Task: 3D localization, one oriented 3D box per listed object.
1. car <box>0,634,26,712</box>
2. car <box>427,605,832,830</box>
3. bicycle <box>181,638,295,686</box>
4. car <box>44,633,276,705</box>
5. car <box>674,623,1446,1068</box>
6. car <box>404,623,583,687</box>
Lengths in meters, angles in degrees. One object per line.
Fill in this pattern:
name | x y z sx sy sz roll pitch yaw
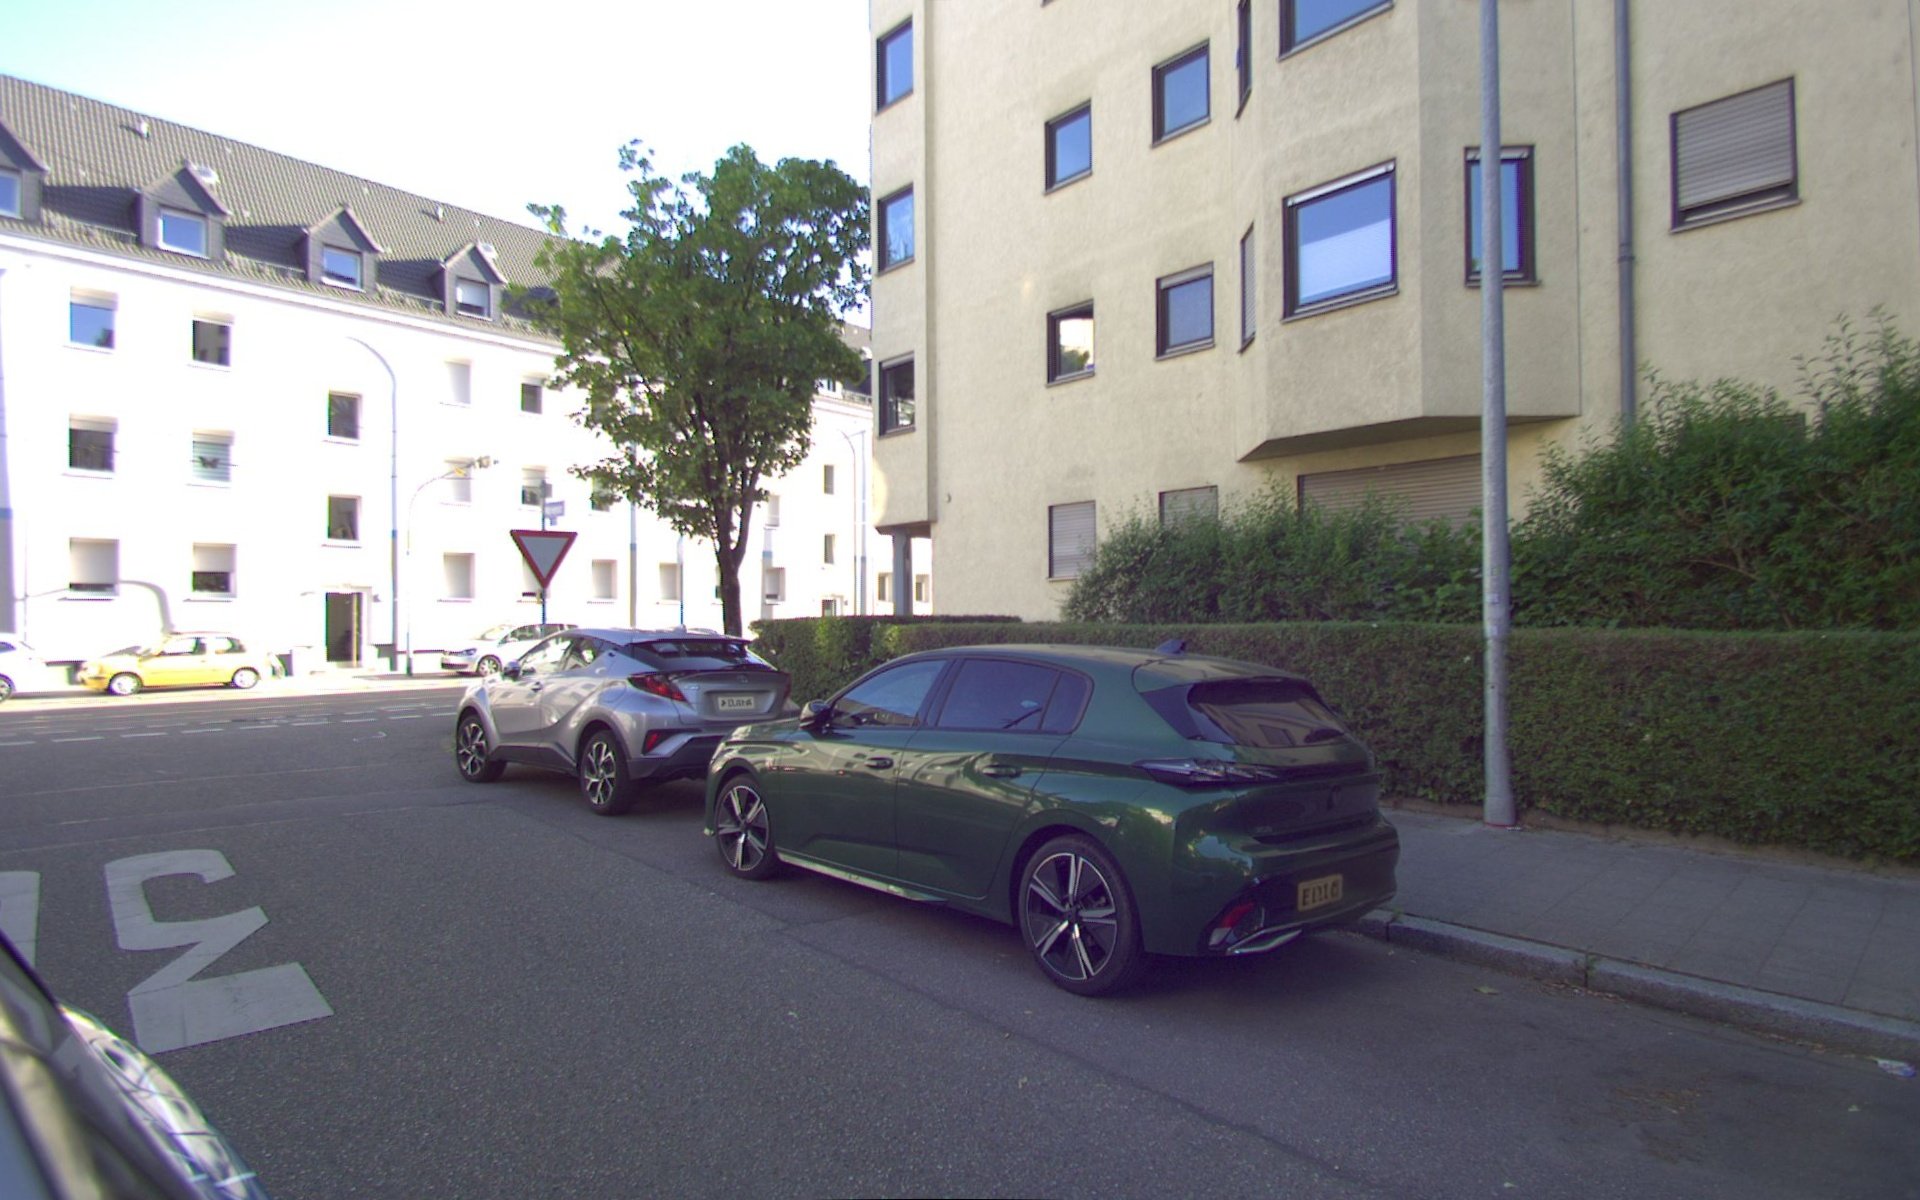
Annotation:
car | -21.982 1.538 20.420 1.684 1.583 4.448 0 -1 41
car | -3.254 0.949 9.596 3.999 1.672 1.883 -1 -3 42
bicycle | -19.354 1.637 27.173 1.098 1.206 2.296 -2 -2 40
car | -18.955 1.568 24.130 1.517 1.441 4.144 -1 -1 40
car | 0.201 0.913 5.585 1.731 1.508 4.140 3 -3 -42
car | -13.892 1.576 30.380 1.758 1.678 4.566 2 1 38
